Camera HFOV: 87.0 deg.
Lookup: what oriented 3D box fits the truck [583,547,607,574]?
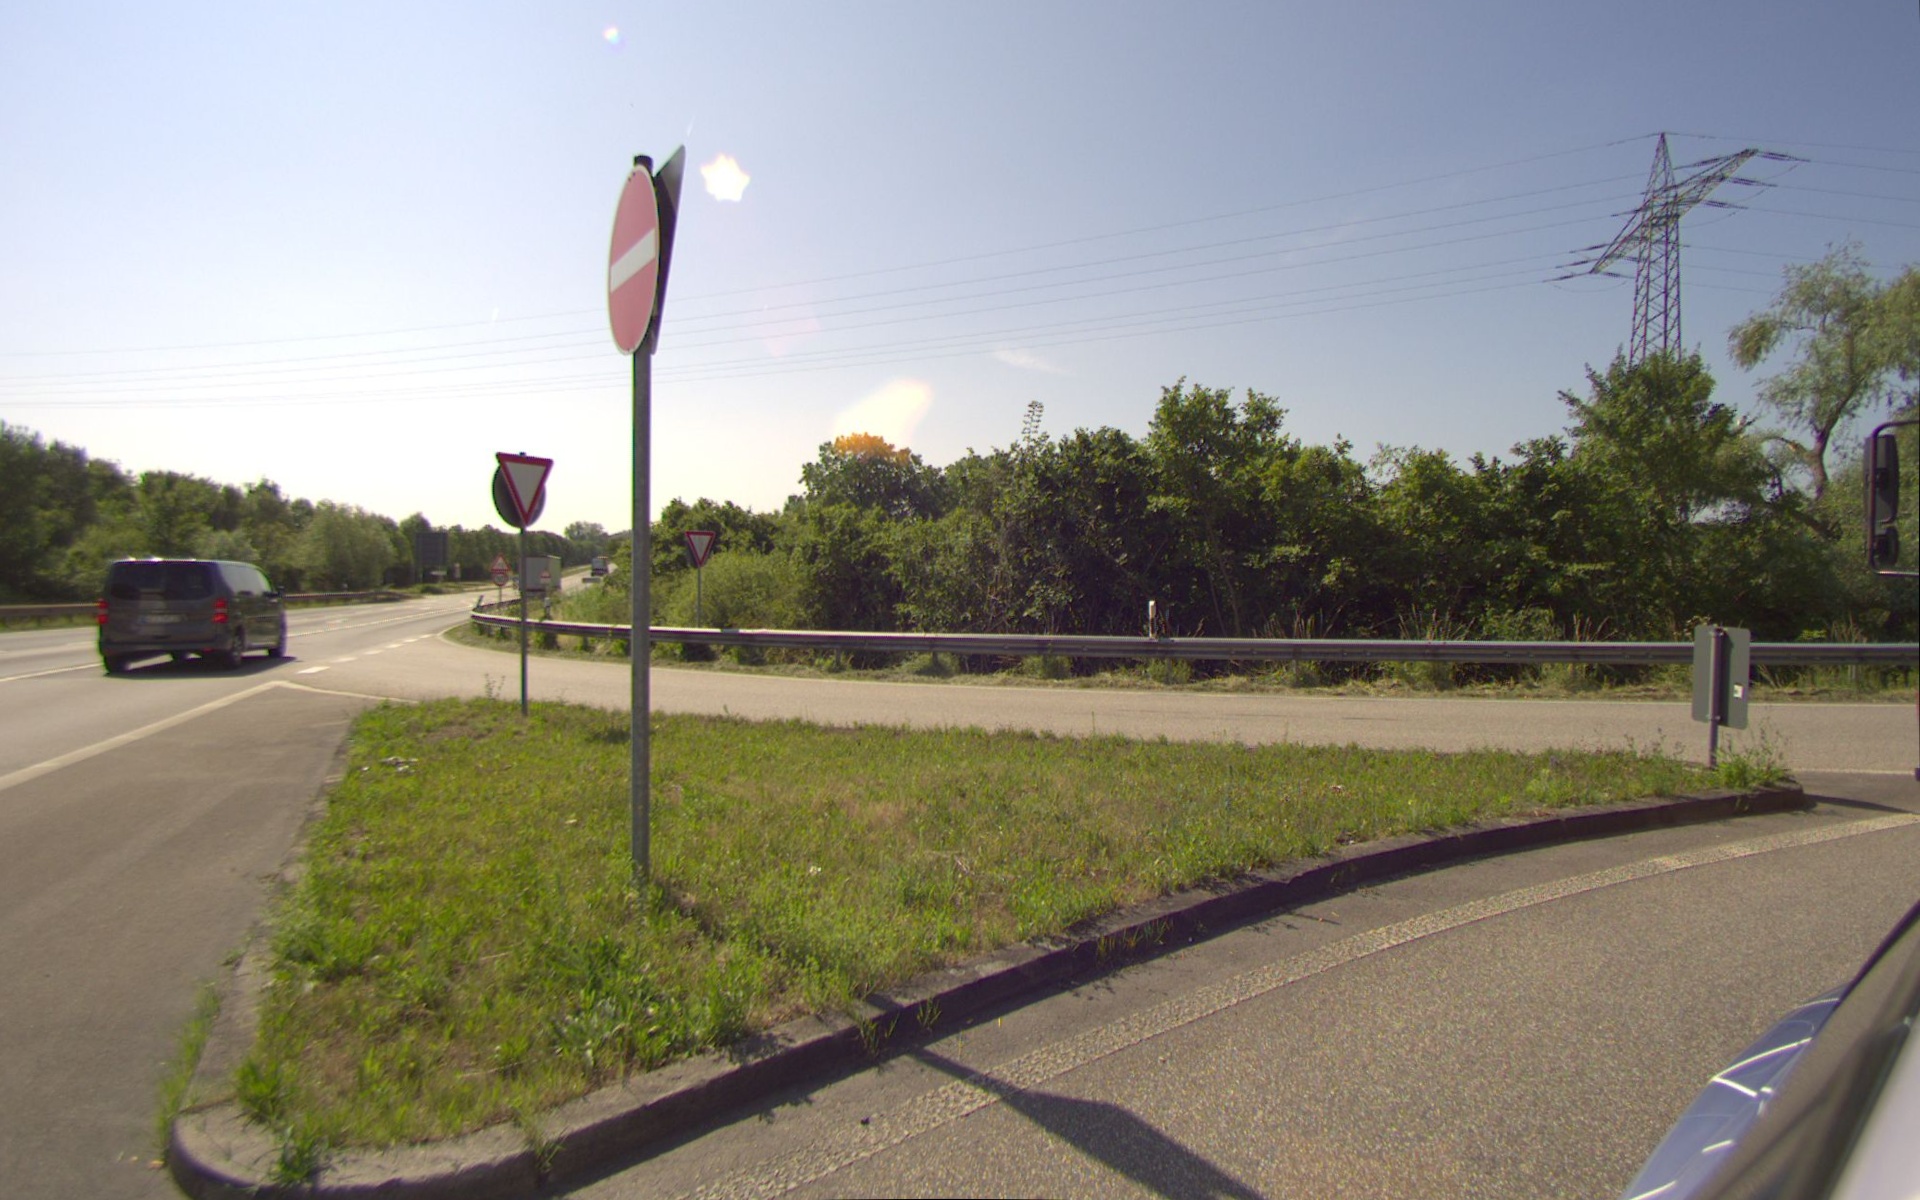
[{"bbox_3d":[-81.145,-8.651,225.320,4.051,5.524,13.635,0,1,-15],"label":"truck"}]

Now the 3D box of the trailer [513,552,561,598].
[{"bbox_3d":[-40.297,-2.403,96.846,2.868,4.060,13.447,1,1,-17],"label":"trailer"}]

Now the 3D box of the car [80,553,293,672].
[{"bbox_3d":[-14.082,0.185,18.794,1.958,1.903,5.003,0,0,-23],"label":"car"}]

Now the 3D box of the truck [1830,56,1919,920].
[{"bbox_3d":[8.667,-0.473,5.301,9.070,3.707,2.696,0,0,-25],"label":"truck"}]
